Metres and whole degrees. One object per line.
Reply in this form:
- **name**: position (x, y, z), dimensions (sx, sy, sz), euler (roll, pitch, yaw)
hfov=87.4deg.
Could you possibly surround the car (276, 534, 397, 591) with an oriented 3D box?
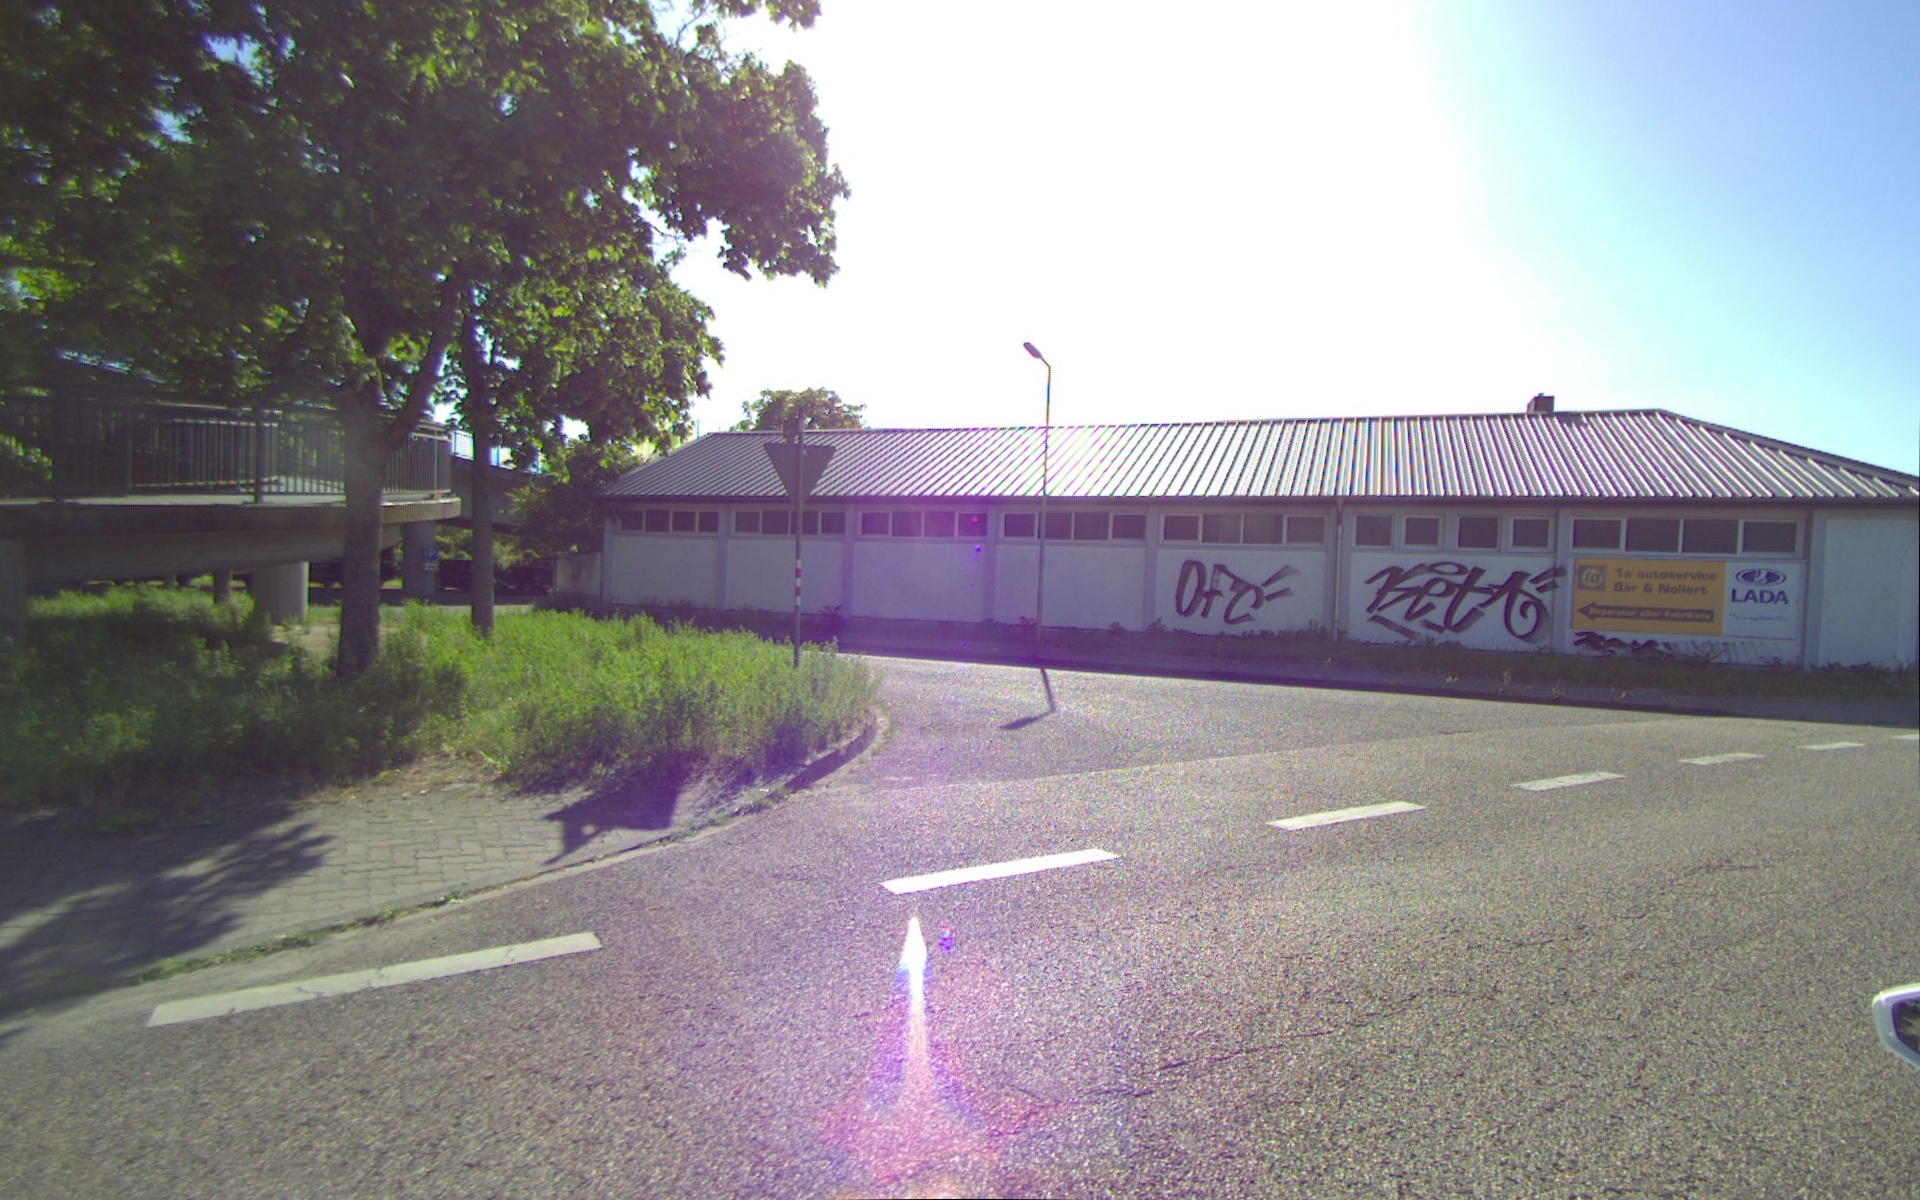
- **car**: position (-30.134, -1.797, 48.568), dimensions (5.098, 2.507, 2.001), euler (2, 1, 15)

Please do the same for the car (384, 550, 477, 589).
- **car**: position (-33.082, -1.897, 62.959), dimensions (2.021, 2.230, 5.128), euler (2, 1, 19)

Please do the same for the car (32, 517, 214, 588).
- **car**: position (-33.264, -1.877, 39.956), dimensions (6.275, 2.540, 2.001), euler (2, 1, 11)

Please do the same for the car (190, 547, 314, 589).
- **car**: position (-31.411, -1.422, 44.640), dimensions (4.394, 1.666, 2.001), euler (2, 1, 11)
